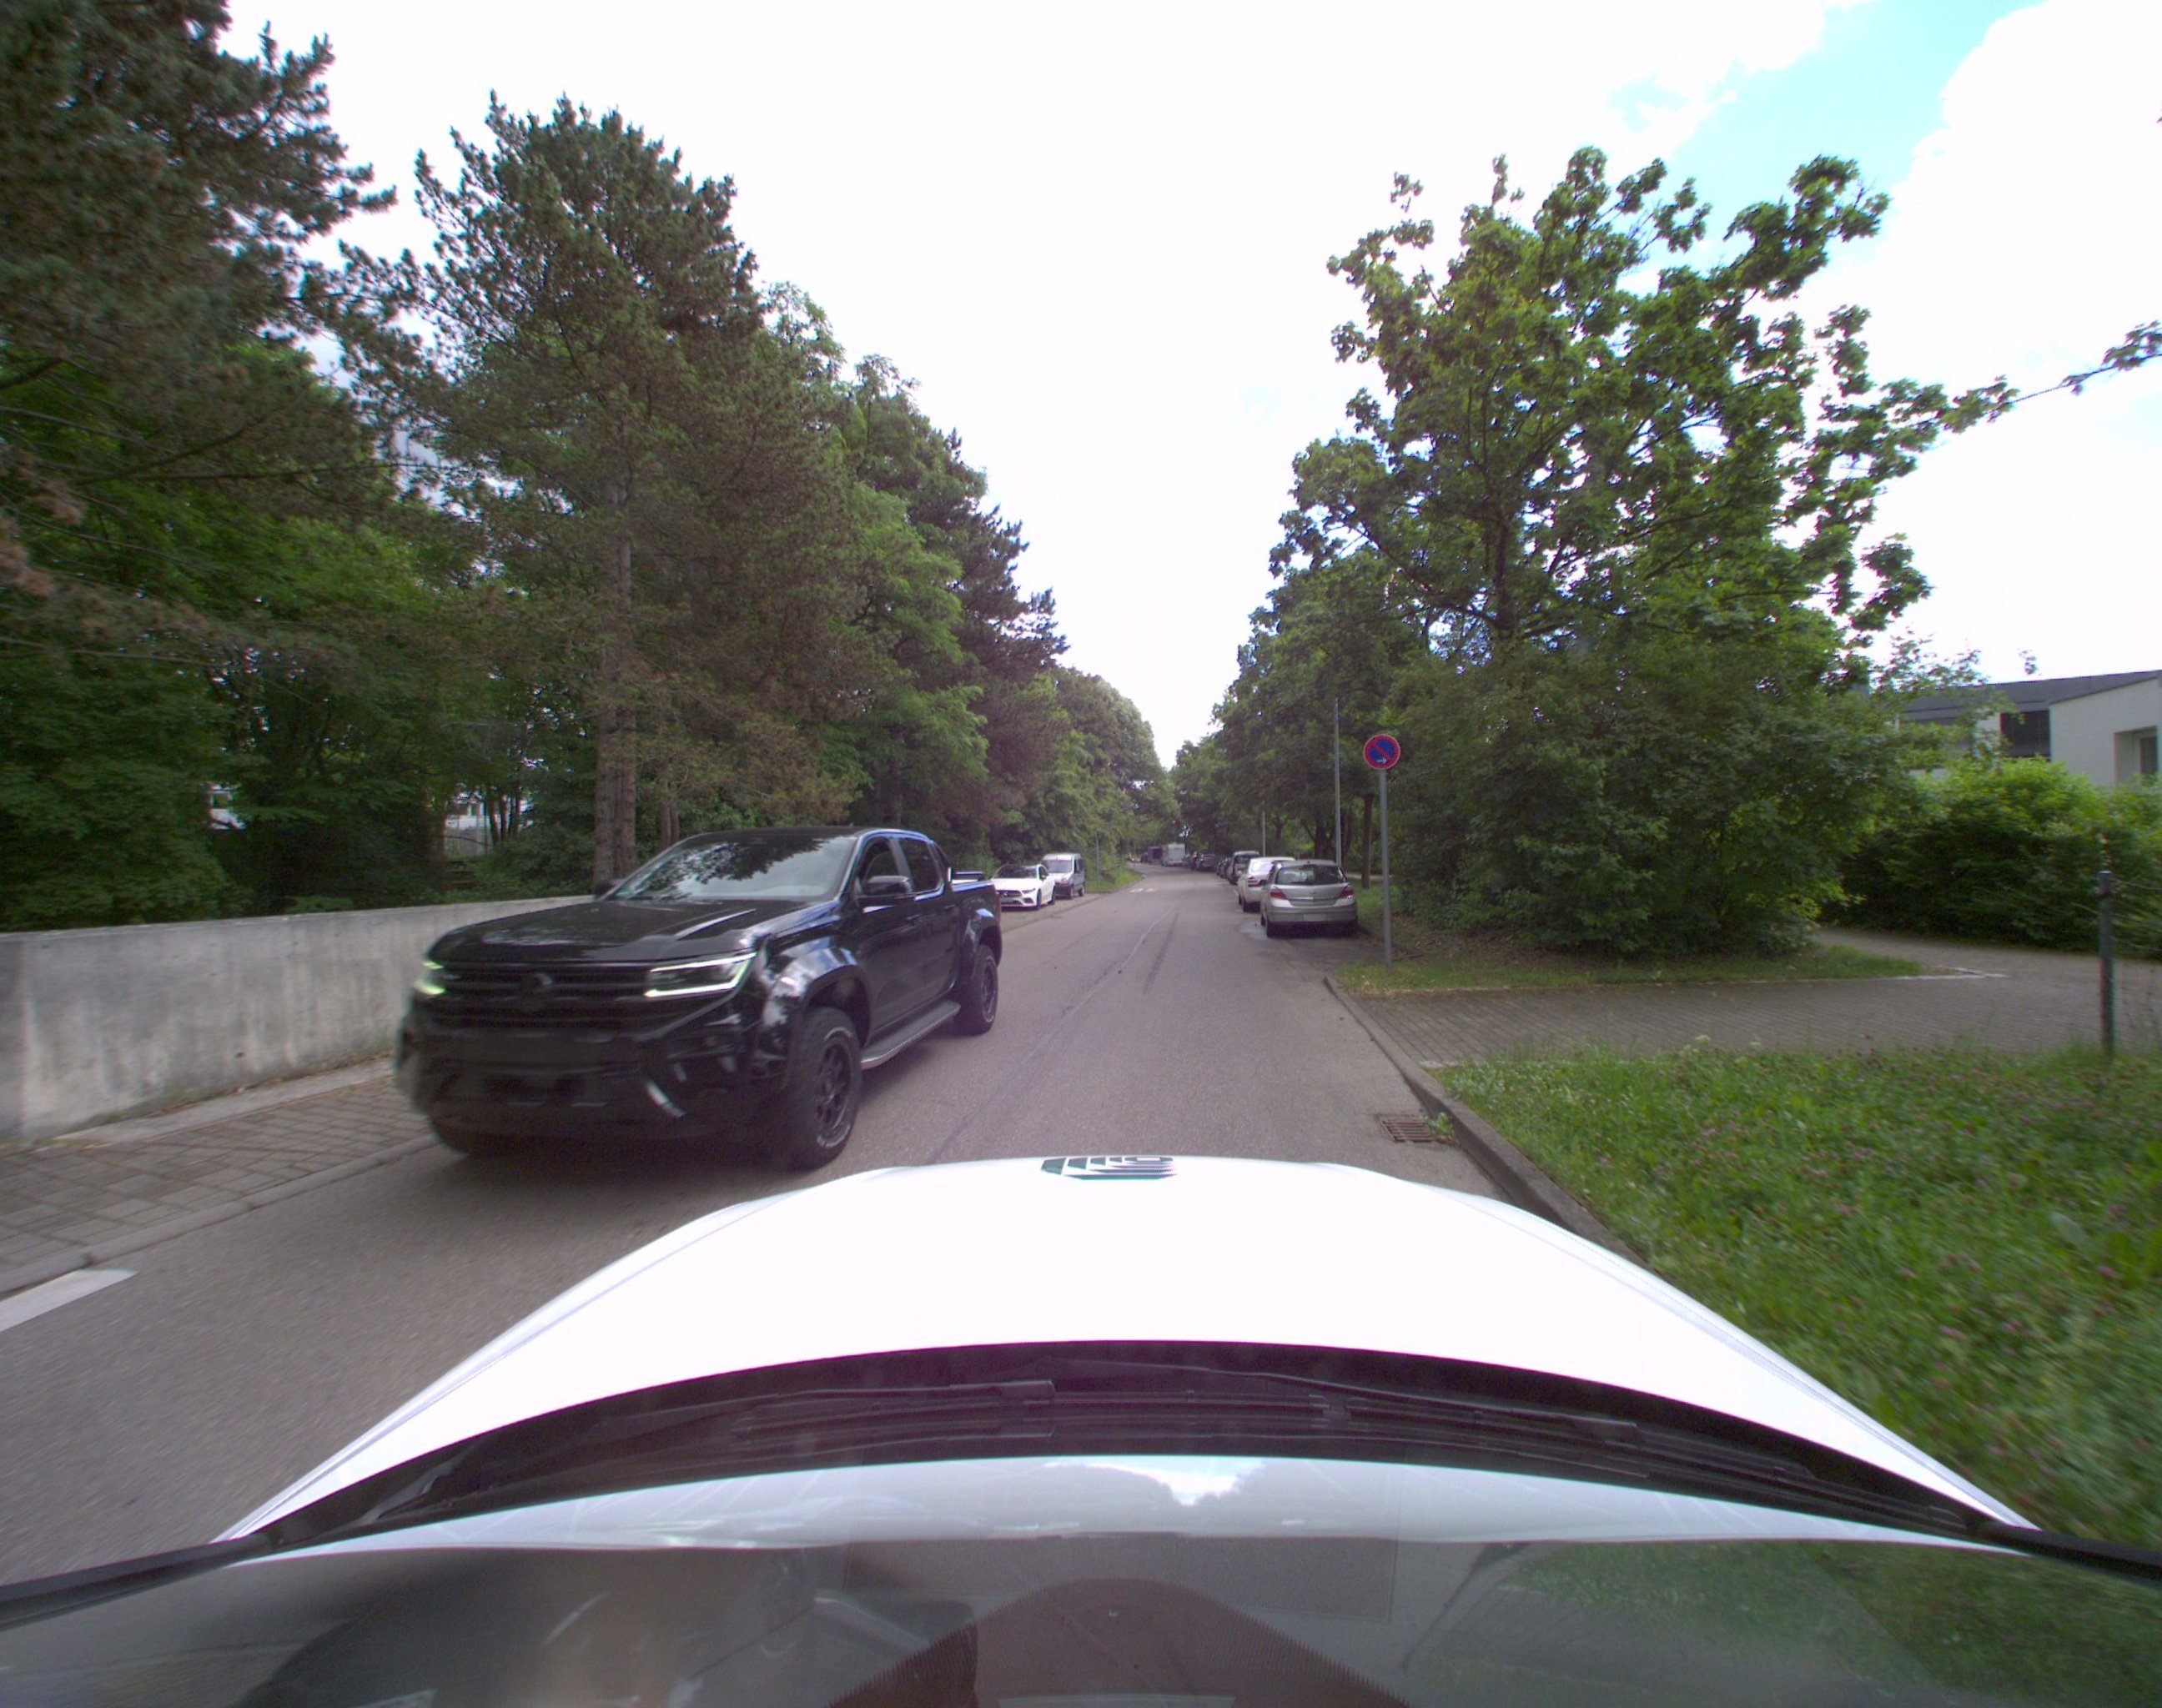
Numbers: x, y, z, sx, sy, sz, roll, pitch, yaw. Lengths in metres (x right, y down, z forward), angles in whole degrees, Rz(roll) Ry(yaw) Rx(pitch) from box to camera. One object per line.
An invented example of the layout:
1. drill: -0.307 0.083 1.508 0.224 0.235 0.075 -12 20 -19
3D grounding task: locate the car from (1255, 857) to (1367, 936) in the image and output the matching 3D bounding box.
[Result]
1. car: 4.627 0.790 16.897 1.782 1.411 4.070 -2 -1 10

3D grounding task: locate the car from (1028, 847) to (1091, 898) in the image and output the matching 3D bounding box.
1. car: -0.799 0.700 33.182 1.710 1.921 4.117 1 1 10

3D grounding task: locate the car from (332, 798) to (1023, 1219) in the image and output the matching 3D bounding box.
1. car: -1.957 0.668 6.121 1.983 1.735 5.347 -1 0 7

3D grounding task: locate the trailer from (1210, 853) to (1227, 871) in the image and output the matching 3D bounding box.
1. trailer: 12.707 0.711 75.278 1.273 1.585 2.463 -1 0 4

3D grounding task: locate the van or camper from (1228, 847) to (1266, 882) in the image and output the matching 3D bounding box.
1. van or camper: 9.218 0.632 45.424 1.792 1.838 4.330 -1 -2 8

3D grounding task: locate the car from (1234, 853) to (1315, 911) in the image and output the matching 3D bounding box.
1. car: 5.637 0.742 24.289 1.875 1.507 5.188 -2 0 8

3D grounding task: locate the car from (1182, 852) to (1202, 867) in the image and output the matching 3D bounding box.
1. car: 13.230 0.652 97.278 1.795 1.562 3.833 -2 1 -1

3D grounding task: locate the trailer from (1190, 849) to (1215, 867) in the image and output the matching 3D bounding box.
1. trailer: 13.031 0.424 87.900 1.972 1.811 5.150 -2 1 1

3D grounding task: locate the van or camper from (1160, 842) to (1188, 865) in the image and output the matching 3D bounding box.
1. van or camper: 12.271 -0.048 107.634 2.477 2.876 6.880 -1 0 -3

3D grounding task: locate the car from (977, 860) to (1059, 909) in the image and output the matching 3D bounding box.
1. car: -1.956 0.928 26.675 1.795 1.403 4.381 0 0 8

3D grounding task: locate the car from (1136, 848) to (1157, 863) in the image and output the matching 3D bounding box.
1. car: 9.973 0.146 123.655 1.995 2.025 3.984 -4 2 -12

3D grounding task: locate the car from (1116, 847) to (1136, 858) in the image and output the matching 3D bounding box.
1. car: 7.512 -0.281 137.031 2.040 1.803 4.060 -2 1 -17

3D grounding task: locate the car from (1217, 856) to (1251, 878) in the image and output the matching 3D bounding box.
1. car: 10.863 0.931 58.022 1.839 1.474 4.483 -1 0 3

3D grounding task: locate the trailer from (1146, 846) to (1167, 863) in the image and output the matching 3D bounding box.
1. trailer: 10.964 0.052 118.475 1.995 2.398 3.984 -2 0 -11

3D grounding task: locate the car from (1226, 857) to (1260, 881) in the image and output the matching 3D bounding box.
1. car: 10.170 0.906 51.218 1.803 1.437 4.251 0 0 7

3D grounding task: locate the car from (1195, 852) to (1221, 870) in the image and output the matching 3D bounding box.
1. car: 12.665 0.689 81.580 1.786 1.670 4.500 -2 -1 0

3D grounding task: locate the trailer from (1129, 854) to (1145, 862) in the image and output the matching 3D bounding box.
1. trailer: 8.795 0.563 127.816 1.651 1.086 3.988 -4 1 -9
